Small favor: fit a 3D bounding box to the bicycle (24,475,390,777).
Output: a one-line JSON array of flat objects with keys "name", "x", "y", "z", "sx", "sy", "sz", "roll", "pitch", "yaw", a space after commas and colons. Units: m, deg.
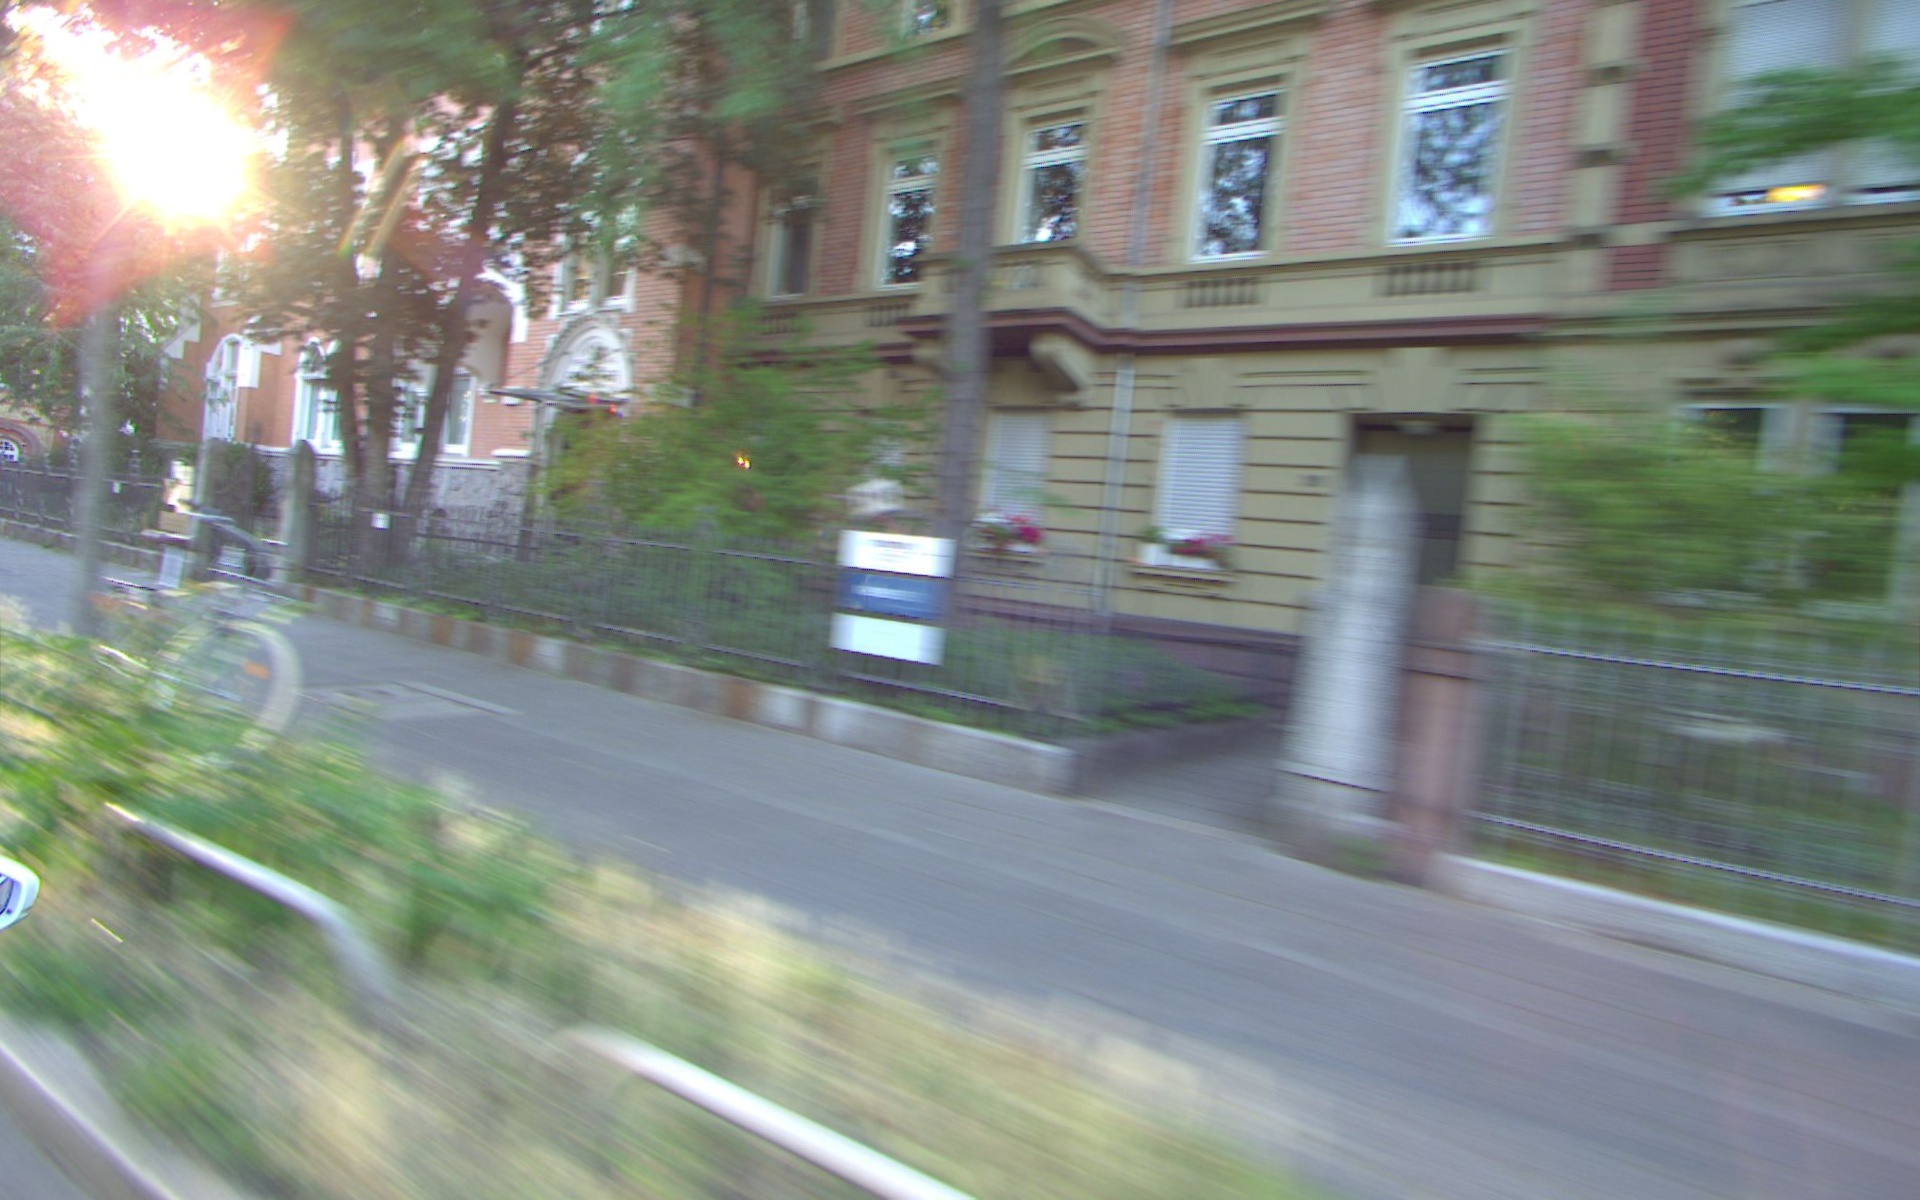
[{"name": "bicycle", "x": -3.741, "y": 0.079, "z": 4.949, "sx": 1.898, "sy": 1.181, "sz": 0.647, "roll": 7, "pitch": 0, "yaw": 30}]
